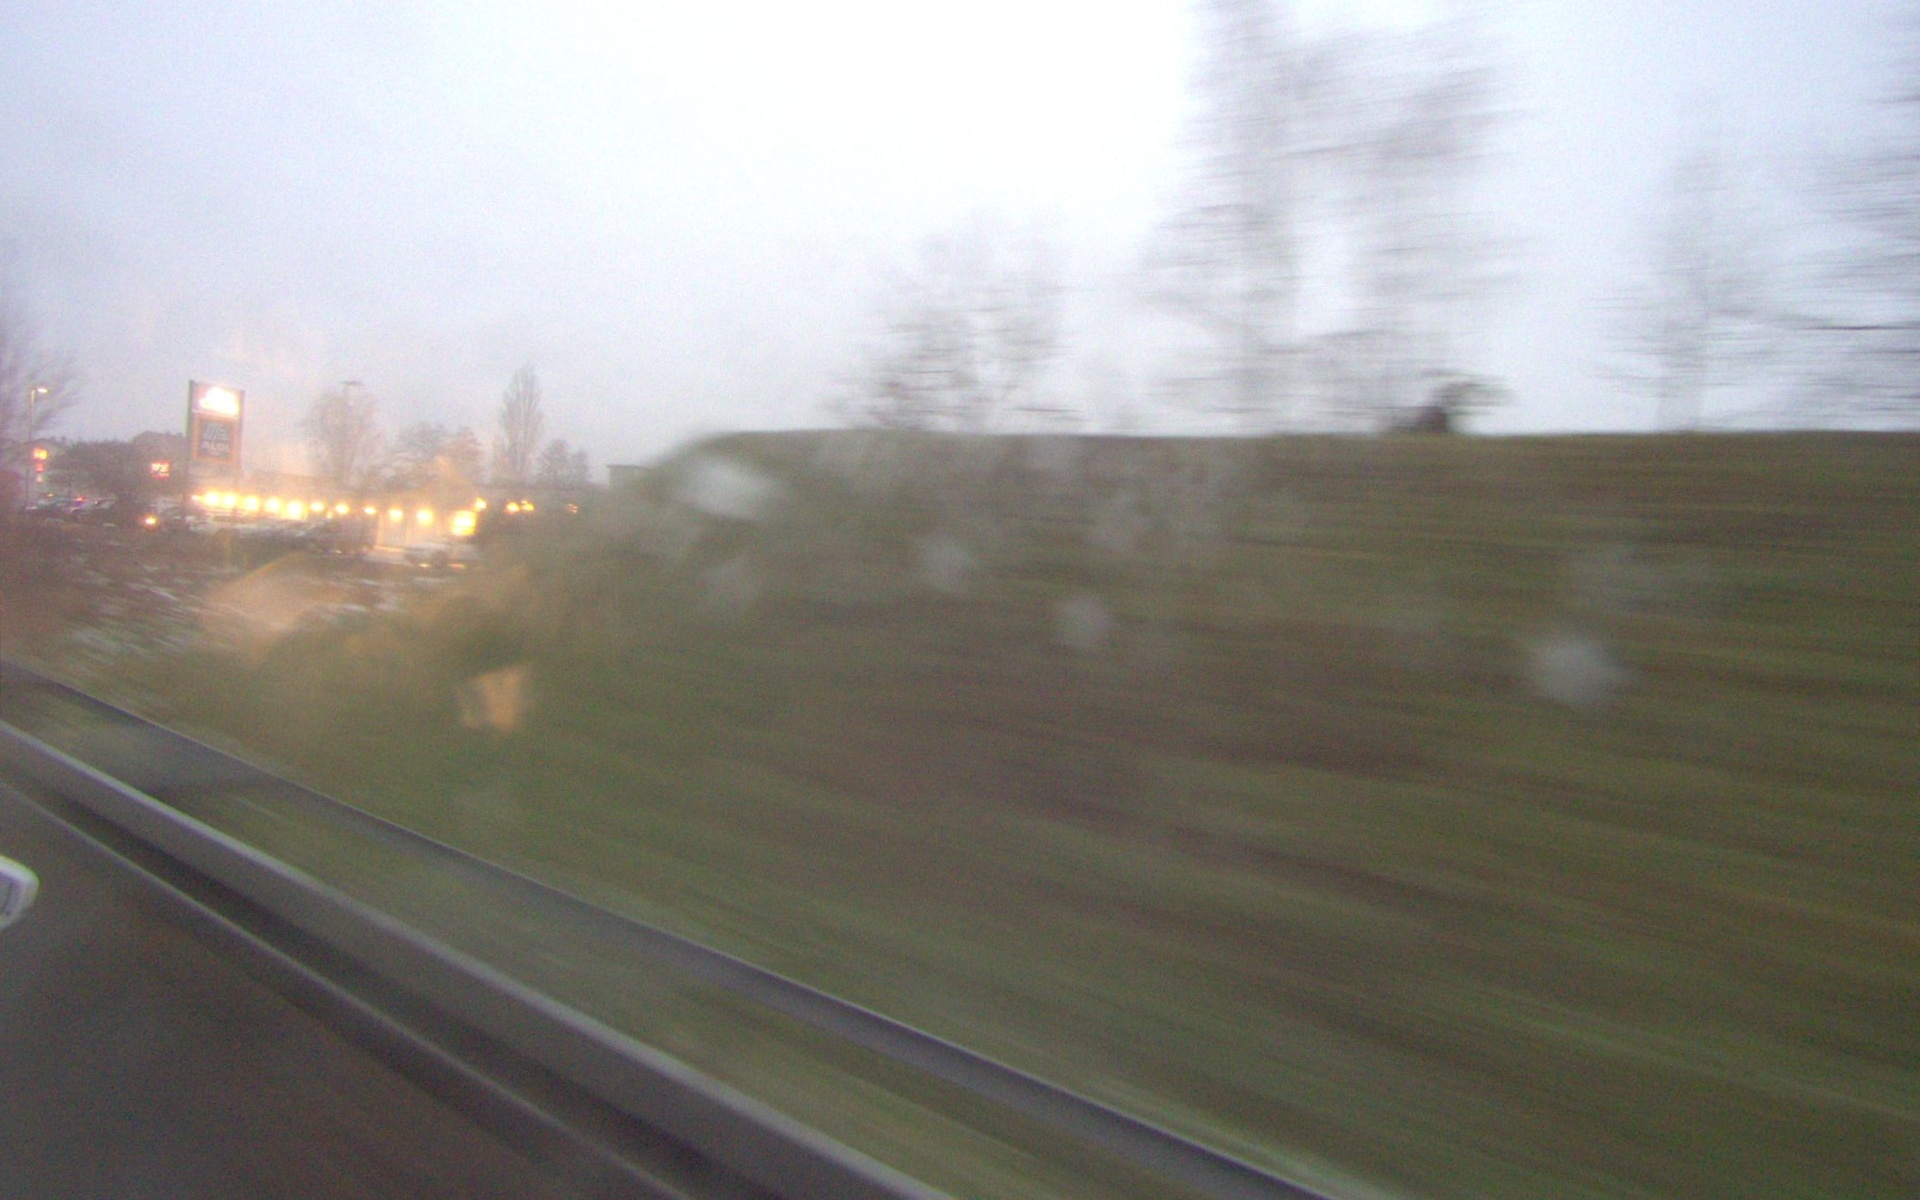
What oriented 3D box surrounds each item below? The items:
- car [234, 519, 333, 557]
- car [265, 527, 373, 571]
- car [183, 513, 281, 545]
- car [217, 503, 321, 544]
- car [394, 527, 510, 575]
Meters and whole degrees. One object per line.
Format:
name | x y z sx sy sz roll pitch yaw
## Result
car | -36.085 -3.290 53.752 1.964 1.496 3.873 6 0 23
car | -33.064 -2.602 52.016 1.964 1.879 4.255 7 2 23
car | -40.520 -3.945 56.076 1.634 1.442 4.129 6 3 28
car | -37.895 -4.180 55.305 1.964 1.650 4.257 7 1 23
car | -23.589 -2.256 46.906 1.966 1.737 4.396 7 1 29
